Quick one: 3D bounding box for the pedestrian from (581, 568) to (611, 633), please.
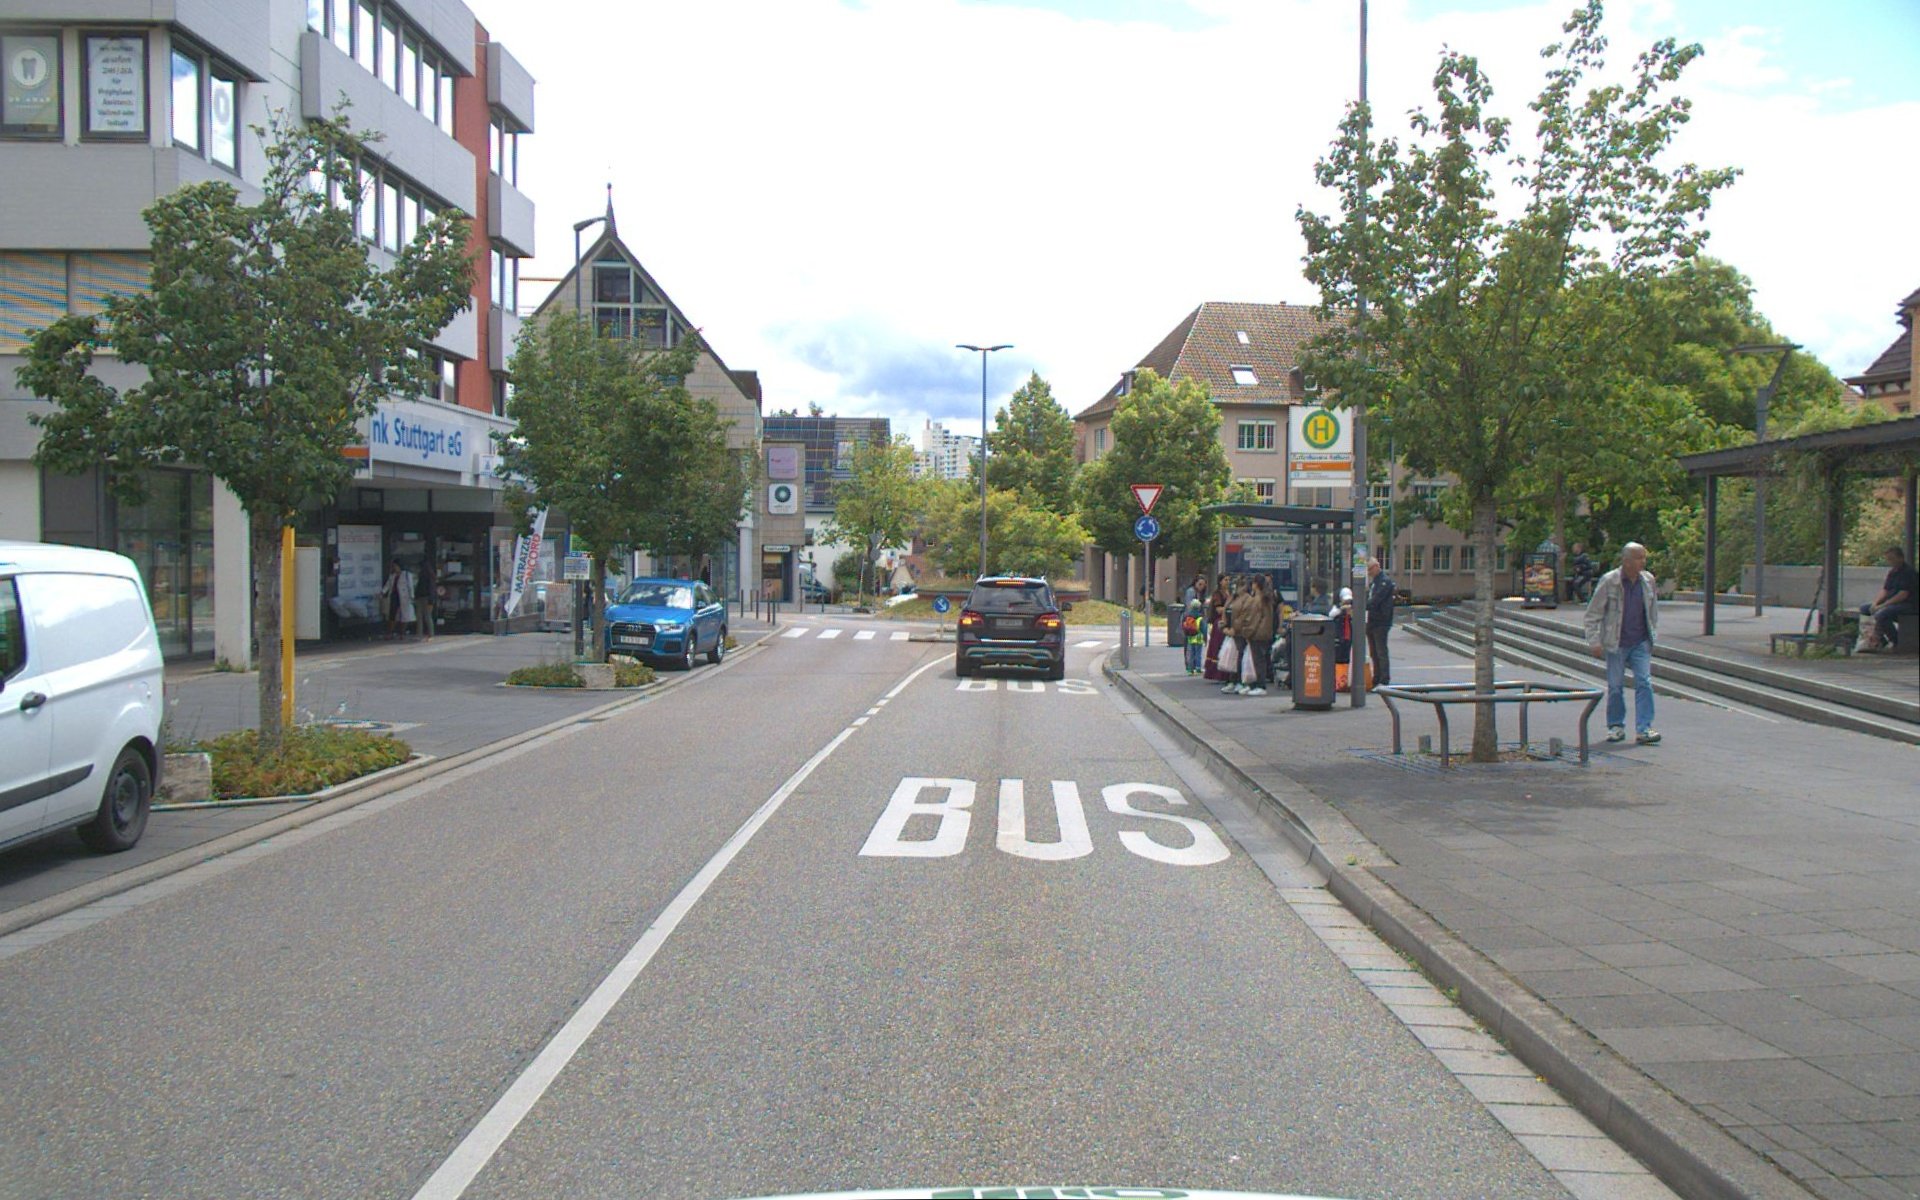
[{"bbox_3d":[-9.106,0.009,41.369,0.575,1.616,0.638,1,0,-2],"label":"pedestrian"}]

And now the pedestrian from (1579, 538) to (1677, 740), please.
[{"bbox_3d":[5.819,0.328,14.444,0.670,1.711,0.715,0,0,11],"label":"pedestrian"}]

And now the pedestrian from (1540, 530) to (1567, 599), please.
[{"bbox_3d":[13.304,-0.784,37.064,0.492,1.534,0.455,0,1,10],"label":"pedestrian"}]

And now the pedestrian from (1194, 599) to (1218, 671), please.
[{"bbox_3d":[4.080,0.577,27.404,0.260,1.181,0.268,-2,0,-28],"label":"pedestrian"}]

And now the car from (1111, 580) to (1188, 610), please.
[{"bbox_3d":[10.176,-0.270,88.776,3.816,1.558,1.648,-1,0,-21],"label":"car"}]

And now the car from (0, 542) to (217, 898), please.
[{"bbox_3d":[-5.385,0.551,8.136,1.623,1.701,4.348,1,0,-3],"label":"car"}]

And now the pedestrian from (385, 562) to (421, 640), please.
[{"bbox_3d":[-11.507,0.013,34.178,0.499,1.594,0.587,-1,0,1],"label":"pedestrian"}]

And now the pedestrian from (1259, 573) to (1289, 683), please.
[{"bbox_3d":[4.600,0.409,24.253,0.385,1.593,0.352,-1,0,6],"label":"pedestrian"}]

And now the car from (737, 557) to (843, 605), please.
[{"bbox_3d":[-10.573,-1.151,102.748,6.193,2.605,2.193,2,-2,-21],"label":"car"}]

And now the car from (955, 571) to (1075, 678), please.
[{"bbox_3d":[0.948,0.474,30.022,1.985,1.758,4.433,1,-2,1],"label":"car"}]

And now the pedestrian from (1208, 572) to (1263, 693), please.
[{"bbox_3d":[3.662,0.422,21.987,0.535,1.576,0.483,0,0,45],"label":"pedestrian"}]

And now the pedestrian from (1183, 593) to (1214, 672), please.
[{"bbox_3d":[3.845,0.522,26.684,0.394,1.247,0.388,-1,0,23],"label":"pedestrian"}]

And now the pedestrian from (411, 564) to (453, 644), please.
[{"bbox_3d":[-10.709,0.084,33.540,0.629,1.594,0.587,-1,0,1],"label":"pedestrian"}]

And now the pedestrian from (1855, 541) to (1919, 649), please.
[{"bbox_3d":[11.796,-0.067,21.055,0.555,1.346,0.546,1,0,10],"label":"pedestrian"}]

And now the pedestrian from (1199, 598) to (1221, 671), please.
[{"bbox_3d":[4.097,0.565,27.092,0.291,1.172,0.293,-2,0,-1],"label":"pedestrian"}]

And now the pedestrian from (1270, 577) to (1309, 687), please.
[{"bbox_3d":[4.475,0.429,22.455,0.370,1.467,0.415,-2,0,-5],"label":"pedestrian"}]

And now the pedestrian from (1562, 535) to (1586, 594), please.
[{"bbox_3d":[13.899,-0.801,37.451,0.355,1.308,0.642,0,1,6],"label":"pedestrian"}]

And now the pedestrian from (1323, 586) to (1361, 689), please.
[{"bbox_3d":[5.010,0.484,21.691,0.381,1.329,0.355,-2,0,2],"label":"pedestrian"}]

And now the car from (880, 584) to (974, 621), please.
[{"bbox_3d":[-1.470,0.094,72.909,3.816,1.558,1.648,-1,0,-21],"label":"car"}]

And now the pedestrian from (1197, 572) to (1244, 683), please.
[{"bbox_3d":[3.810,0.399,24.188,0.488,1.593,0.499,0,0,40],"label":"pedestrian"}]

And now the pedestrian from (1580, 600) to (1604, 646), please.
[{"bbox_3d":[21.827,0.778,57.156,0.539,1.540,0.788,0,3,3],"label":"pedestrian"}]

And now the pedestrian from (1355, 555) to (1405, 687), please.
[{"bbox_3d":[5.500,0.270,21.682,0.501,1.710,0.576,-1,0,1],"label":"pedestrian"}]

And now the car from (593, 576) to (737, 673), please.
[{"bbox_3d":[-5.525,0.415,31.515,1.659,1.627,4.333,3,1,3],"label":"car"}]

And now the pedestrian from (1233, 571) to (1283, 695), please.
[{"bbox_3d":[3.873,0.419,21.477,0.503,1.576,0.487,-1,0,27],"label":"pedestrian"}]

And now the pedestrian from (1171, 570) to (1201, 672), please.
[{"bbox_3d":[3.729,0.339,27.271,0.378,1.648,0.469,-2,0,16],"label":"pedestrian"}]

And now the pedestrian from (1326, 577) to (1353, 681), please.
[{"bbox_3d":[5.424,0.412,23.653,0.269,1.484,0.319,-1,0,-6],"label":"pedestrian"}]

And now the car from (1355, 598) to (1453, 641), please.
[{"bbox_3d":[15.557,0.660,57.885,3.806,1.407,1.588,0,1,-44],"label":"car"}]
